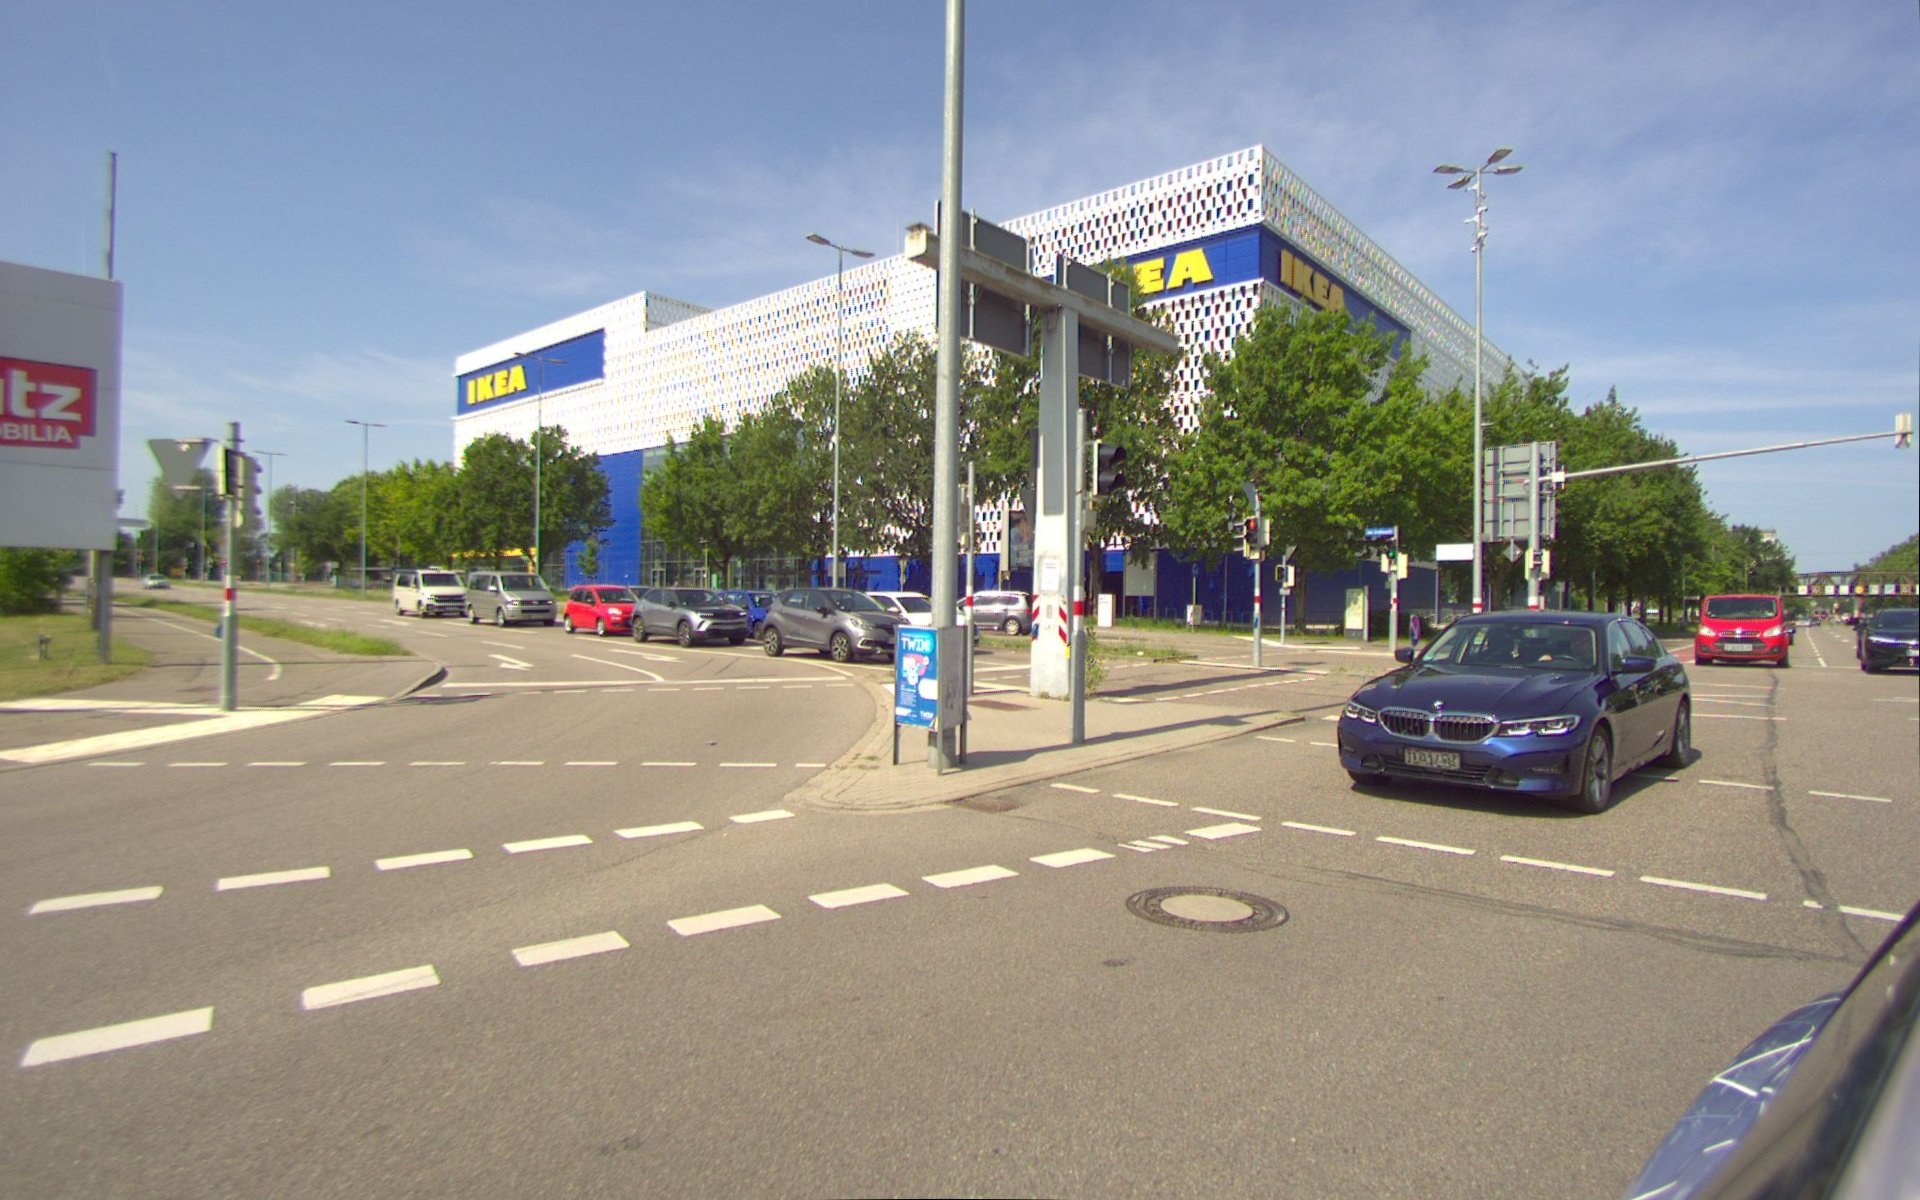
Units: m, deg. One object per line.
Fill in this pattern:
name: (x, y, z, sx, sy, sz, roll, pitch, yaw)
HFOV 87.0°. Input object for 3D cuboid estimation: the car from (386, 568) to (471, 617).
car: (-22.572, -0.330, 42.888, 4.776, 1.960, 1.883, 0, 1, 45)

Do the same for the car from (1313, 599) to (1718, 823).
car: (4.983, 0.740, 8.766, 4.462, 1.447, 1.797, 0, -1, -43)

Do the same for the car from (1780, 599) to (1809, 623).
car: (77.291, 1.010, 93.728, 1.990, 2.039, 3.942, -3, -2, 40)

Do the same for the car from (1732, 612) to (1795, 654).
car: (29.913, 1.193, 37.654, 1.686, 1.441, 3.858, -1, -1, 40)

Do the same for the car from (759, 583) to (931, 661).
car: (-2.611, 0.439, 22.427, 1.779, 1.578, 3.887, 1, 0, -44)

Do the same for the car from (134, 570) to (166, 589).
car: (-79.042, -2.052, 98.756, 3.987, 1.705, 1.855, 3, 2, 43)

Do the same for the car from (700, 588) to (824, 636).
car: (-6.021, 0.322, 30.533, 4.045, 1.359, 1.697, 0, 0, 44)

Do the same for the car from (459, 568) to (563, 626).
car: (-16.365, -0.159, 36.764, 1.931, 2.000, 4.676, -1, 2, -45)

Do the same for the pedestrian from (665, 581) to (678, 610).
pedestrian: (-20.742, -0.320, 72.773, 0.595, 2.040, 0.675, -3, -2, 27)

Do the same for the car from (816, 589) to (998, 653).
car: (-1.420, 0.454, 25.455, 4.718, 1.443, 1.927, 1, 1, 45)

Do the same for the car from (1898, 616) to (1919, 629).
car: (116.457, 2.714, 123.963, 1.844, 1.478, 4.598, 3, 2, 39)

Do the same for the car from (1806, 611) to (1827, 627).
car: (112.795, 2.523, 133.258, 1.990, 2.039, 3.942, -3, -2, 40)

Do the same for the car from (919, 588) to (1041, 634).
car: (0.790, 0.394, 39.015, 4.332, 1.676, 1.989, 1, 0, 18)

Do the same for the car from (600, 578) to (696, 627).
car: (-11.209, 0.074, 36.214, 1.655, 1.640, 4.121, 0, 0, -43)

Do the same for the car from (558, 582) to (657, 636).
car: (-10.990, 0.253, 31.473, 1.572, 1.596, 3.472, 1, 0, -44)

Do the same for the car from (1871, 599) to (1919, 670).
car: (22.593, 0.779, 23.649, 1.841, 1.559, 3.939, -2, -2, 42)

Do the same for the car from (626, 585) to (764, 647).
car: (-7.275, 0.375, 27.583, 4.029, 1.527, 1.878, 2, 2, 44)

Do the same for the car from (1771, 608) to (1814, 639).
car: (44.089, 1.229, 53.636, 1.642, 1.560, 3.943, -4, -3, 39)

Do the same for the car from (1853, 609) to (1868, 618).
car: (156.978, 2.340, 176.430, 1.861, 1.531, 3.937, 1, 0, 43)

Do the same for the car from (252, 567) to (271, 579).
car: (-99.518, -3.834, 144.155, 3.905, 1.555, 1.614, 0, 0, 45)

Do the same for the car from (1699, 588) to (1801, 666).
car: (21.672, 0.703, 27.777, 2.005, 1.932, 4.742, -2, -1, 38)
